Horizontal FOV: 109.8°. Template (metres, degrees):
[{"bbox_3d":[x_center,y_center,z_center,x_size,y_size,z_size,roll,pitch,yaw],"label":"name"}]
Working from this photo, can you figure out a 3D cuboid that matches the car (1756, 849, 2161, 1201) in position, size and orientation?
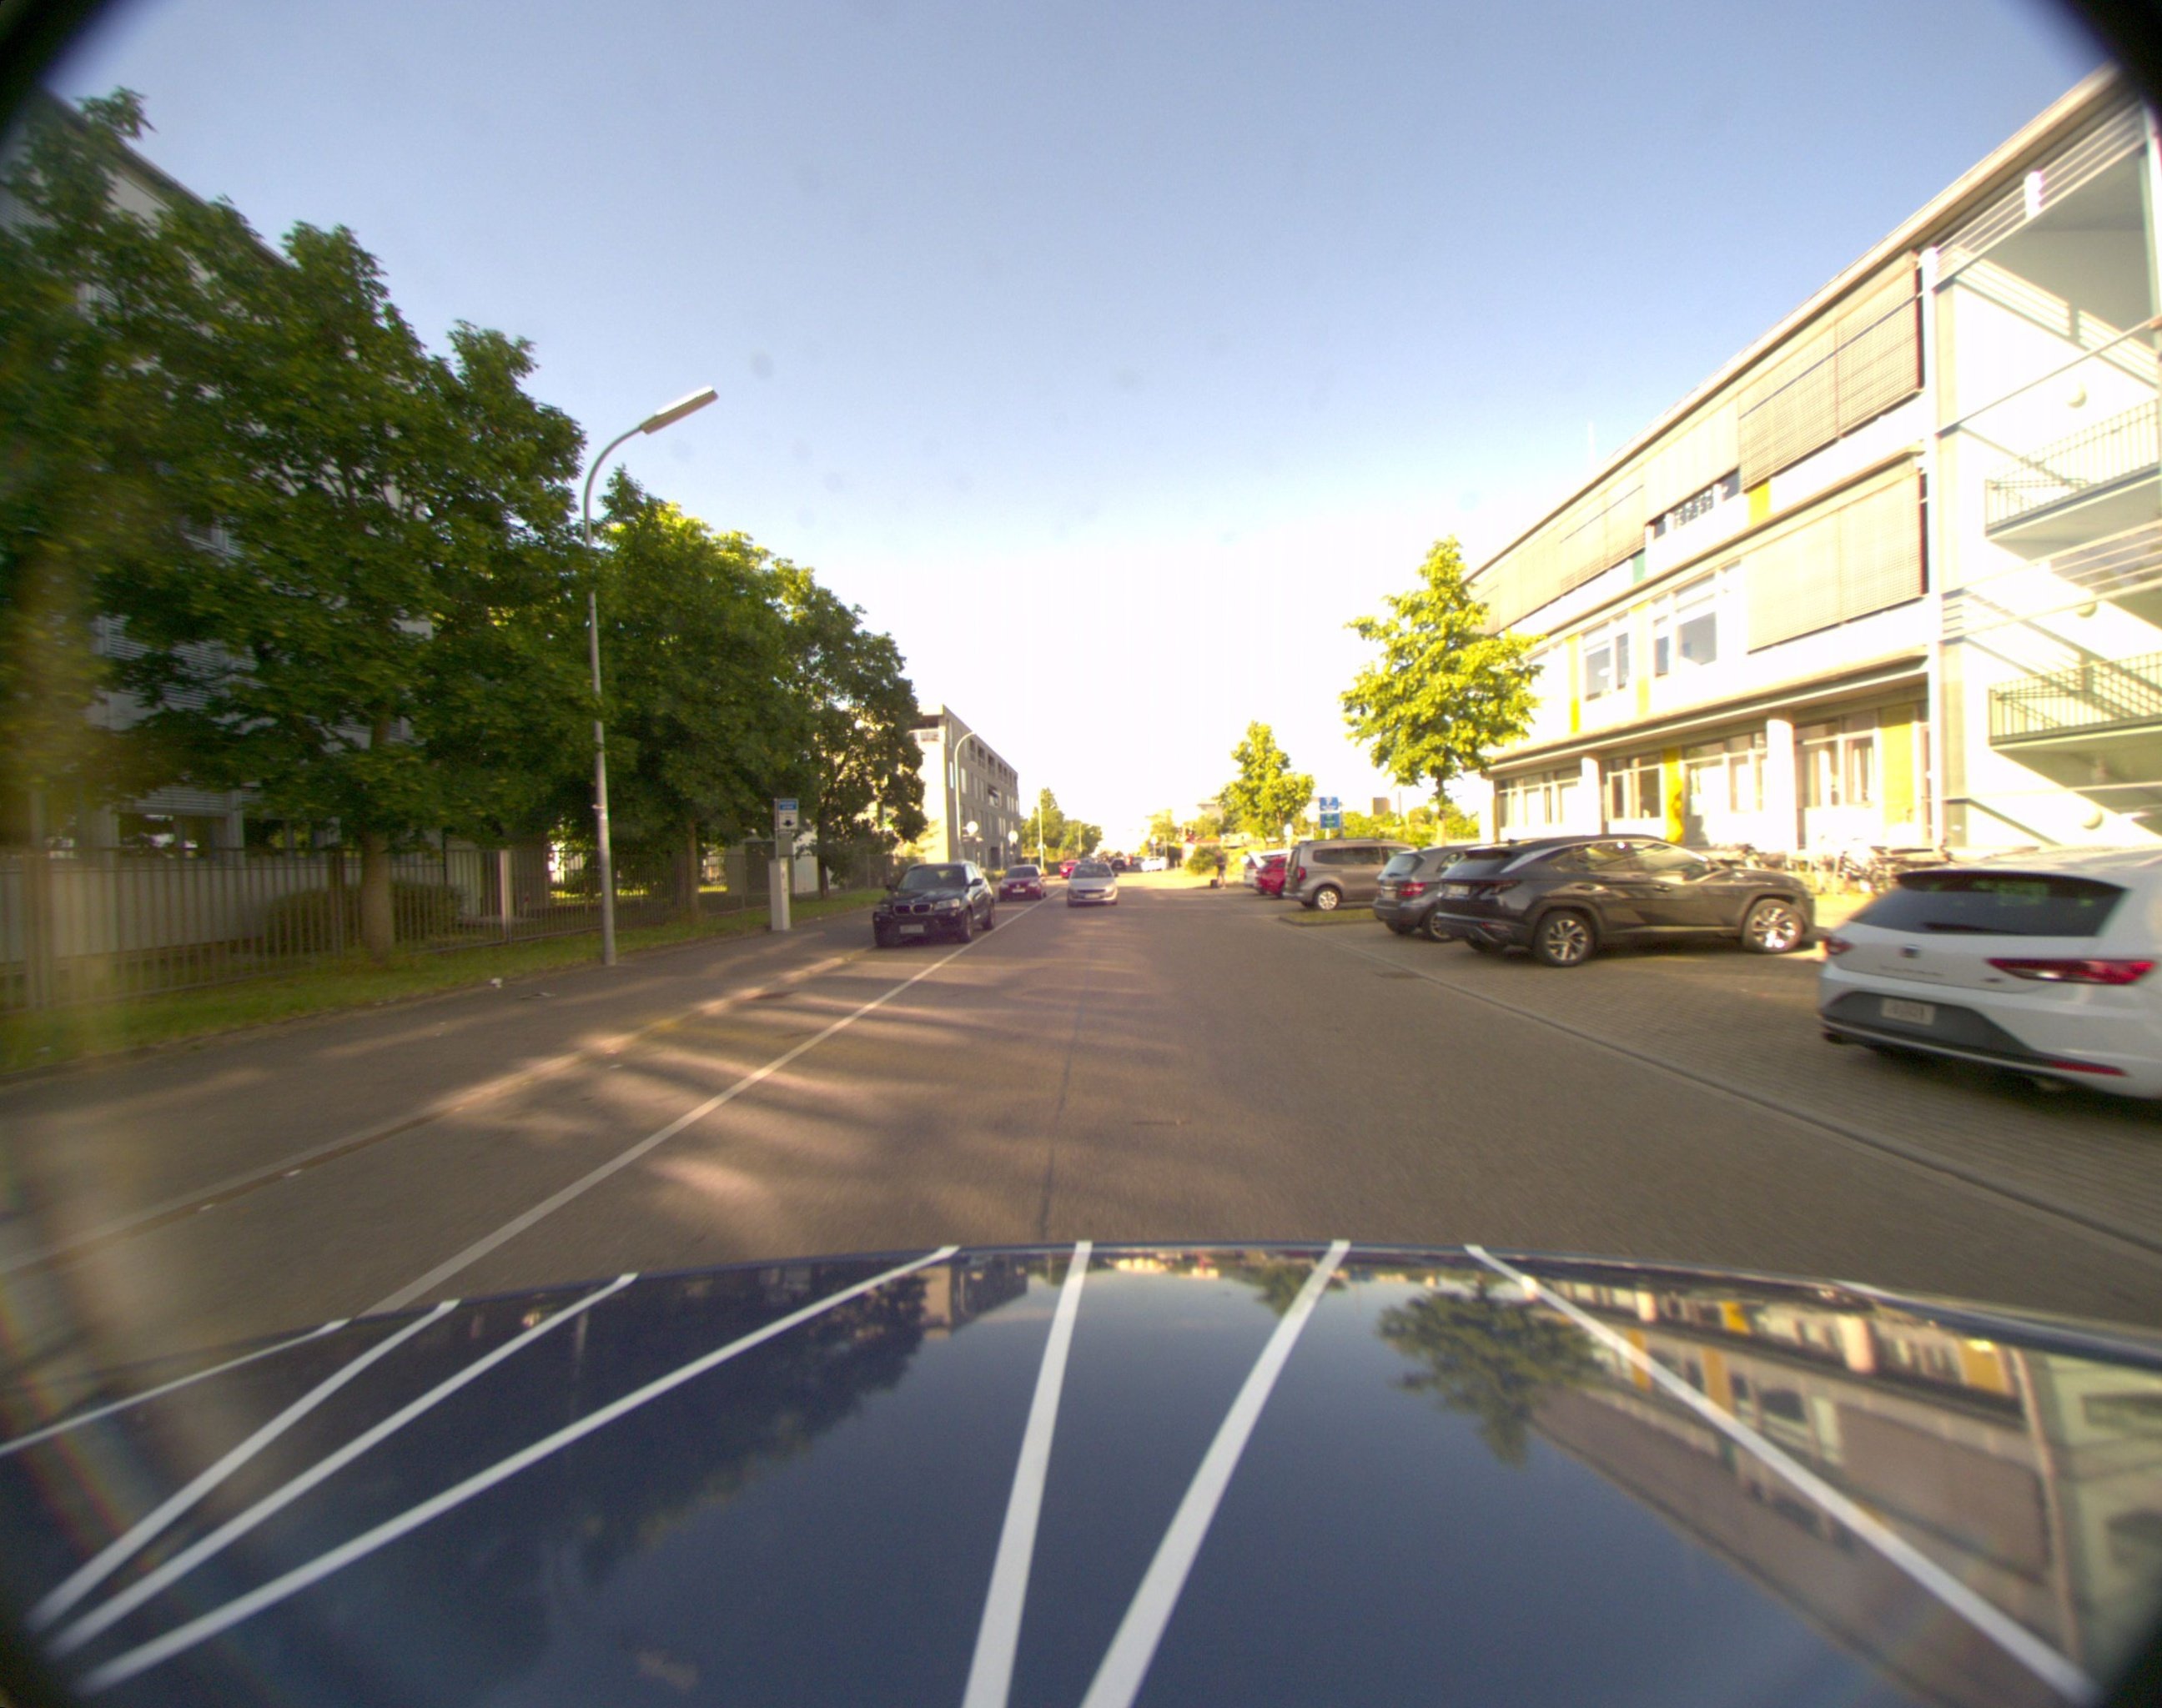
[{"bbox_3d":[6.765,0.731,4.357,4.101,1.414,1.823,-4,1,1],"label":"car"}]

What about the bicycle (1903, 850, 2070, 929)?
[{"bbox_3d":[13.323,0.484,11.257,0.519,1.072,1.660,-1,0,2],"label":"bicycle"}]

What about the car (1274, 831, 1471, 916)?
[{"bbox_3d":[7.577,0.488,20.120,4.358,1.852,2.000,-4,0,3],"label":"car"}]

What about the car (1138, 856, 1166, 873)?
[{"bbox_3d":[6.648,0.953,71.443,1.999,1.499,3.998,-1,0,-4],"label":"car"}]

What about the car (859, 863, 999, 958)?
[{"bbox_3d":[-3.079,1.081,16.376,1.890,1.616,4.295,-4,0,2],"label":"car"}]

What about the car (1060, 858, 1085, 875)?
[{"bbox_3d":[-0.756,1.030,64.413,1.999,1.382,3.999,-1,0,-2],"label":"car"}]

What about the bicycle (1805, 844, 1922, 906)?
[{"bbox_3d":[14.704,0.379,14.343,0.519,1.090,1.660,-1,0,2],"label":"bicycle"}]

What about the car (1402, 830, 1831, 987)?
[{"bbox_3d":[6.973,0.648,10.260,4.360,1.618,1.999,-4,1,-2],"label":"car"}]

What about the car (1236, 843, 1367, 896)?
[{"bbox_3d":[8.153,0.567,28.453,4.357,1.637,2.001,-4,0,7],"label":"car"}]

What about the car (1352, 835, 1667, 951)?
[{"bbox_3d":[7.350,0.636,13.374,4.360,1.581,2.000,-4,0,-2],"label":"car"}]

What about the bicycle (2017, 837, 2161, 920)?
[{"bbox_3d":[14.829,0.315,11.058,0.463,1.090,1.511,-5,2,-4],"label":"bicycle"}]

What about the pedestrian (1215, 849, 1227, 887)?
[{"bbox_3d":[6.580,0.645,35.770,0.369,1.712,0.479,-4,5,-1],"label":"pedestrian"}]

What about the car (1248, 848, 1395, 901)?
[{"bbox_3d":[7.997,0.668,25.601,4.357,1.452,2.001,-4,0,7],"label":"car"}]

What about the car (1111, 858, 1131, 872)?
[{"bbox_3d":[4.727,1.292,89.848,1.912,1.499,3.998,-1,0,-4],"label":"car"}]

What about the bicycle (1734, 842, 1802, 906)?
[{"bbox_3d":[13.400,0.368,14.853,0.462,1.090,1.514,-3,2,22],"label":"bicycle"}]

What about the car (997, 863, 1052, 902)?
[{"bbox_3d":[-2.355,1.180,32.801,1.824,1.435,4.295,-4,0,2],"label":"car"}]

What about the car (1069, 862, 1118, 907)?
[{"bbox_3d":[0.464,1.013,26.318,1.551,1.389,3.454,-1,0,2],"label":"car"}]
